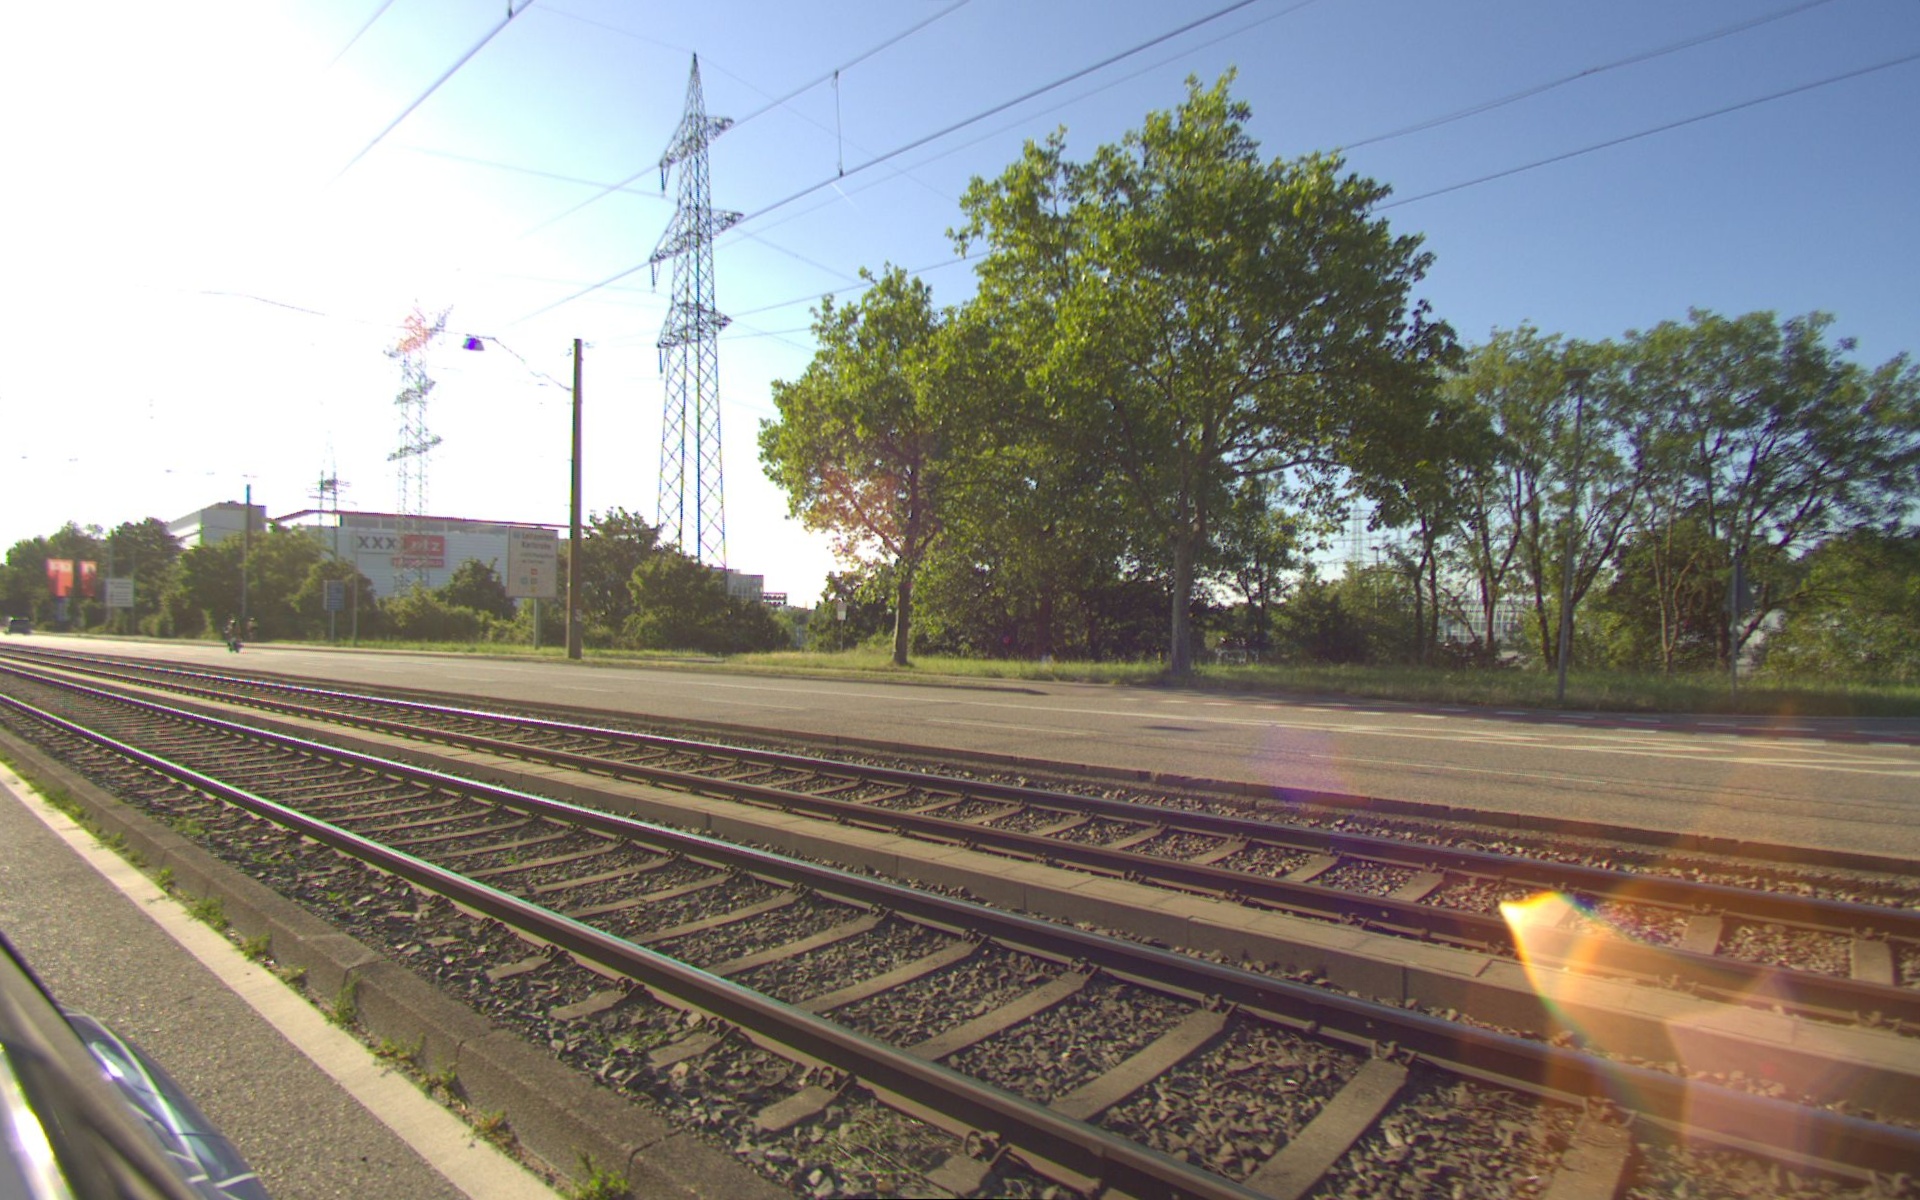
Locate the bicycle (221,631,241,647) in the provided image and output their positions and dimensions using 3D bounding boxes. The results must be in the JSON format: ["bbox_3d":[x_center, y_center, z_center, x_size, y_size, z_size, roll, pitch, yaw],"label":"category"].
[{"bbox_3d":[-48.486,2.614,67.301,2.184,1.029,0.584,-1,-2,41],"label":"bicycle"}]

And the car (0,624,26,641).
[{"bbox_3d":[-109.108,3.746,116.410,4.860,1.937,1.972,-3,-4,43],"label":"car"}]

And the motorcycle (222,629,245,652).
[{"bbox_3d":[-36.043,2.001,50.198,1.901,1.099,0.530,-1,1,41],"label":"motorcycle"}]

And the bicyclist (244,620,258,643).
[{"bbox_3d":[-48.154,2.131,68.749,0.905,1.540,0.584,-1,-2,41],"label":"bicyclist"}]

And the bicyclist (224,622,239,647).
[{"bbox_3d":[-48.393,2.299,67.225,0.966,1.623,0.584,-1,-2,41],"label":"bicyclist"}]

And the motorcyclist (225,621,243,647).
[{"bbox_3d":[-35.998,1.684,50.158,0.804,1.280,0.530,-1,0,41],"label":"motorcyclist"}]

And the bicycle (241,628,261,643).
[{"bbox_3d":[-48.164,2.396,68.759,2.184,1.029,0.584,-1,-2,41],"label":"bicycle"}]
